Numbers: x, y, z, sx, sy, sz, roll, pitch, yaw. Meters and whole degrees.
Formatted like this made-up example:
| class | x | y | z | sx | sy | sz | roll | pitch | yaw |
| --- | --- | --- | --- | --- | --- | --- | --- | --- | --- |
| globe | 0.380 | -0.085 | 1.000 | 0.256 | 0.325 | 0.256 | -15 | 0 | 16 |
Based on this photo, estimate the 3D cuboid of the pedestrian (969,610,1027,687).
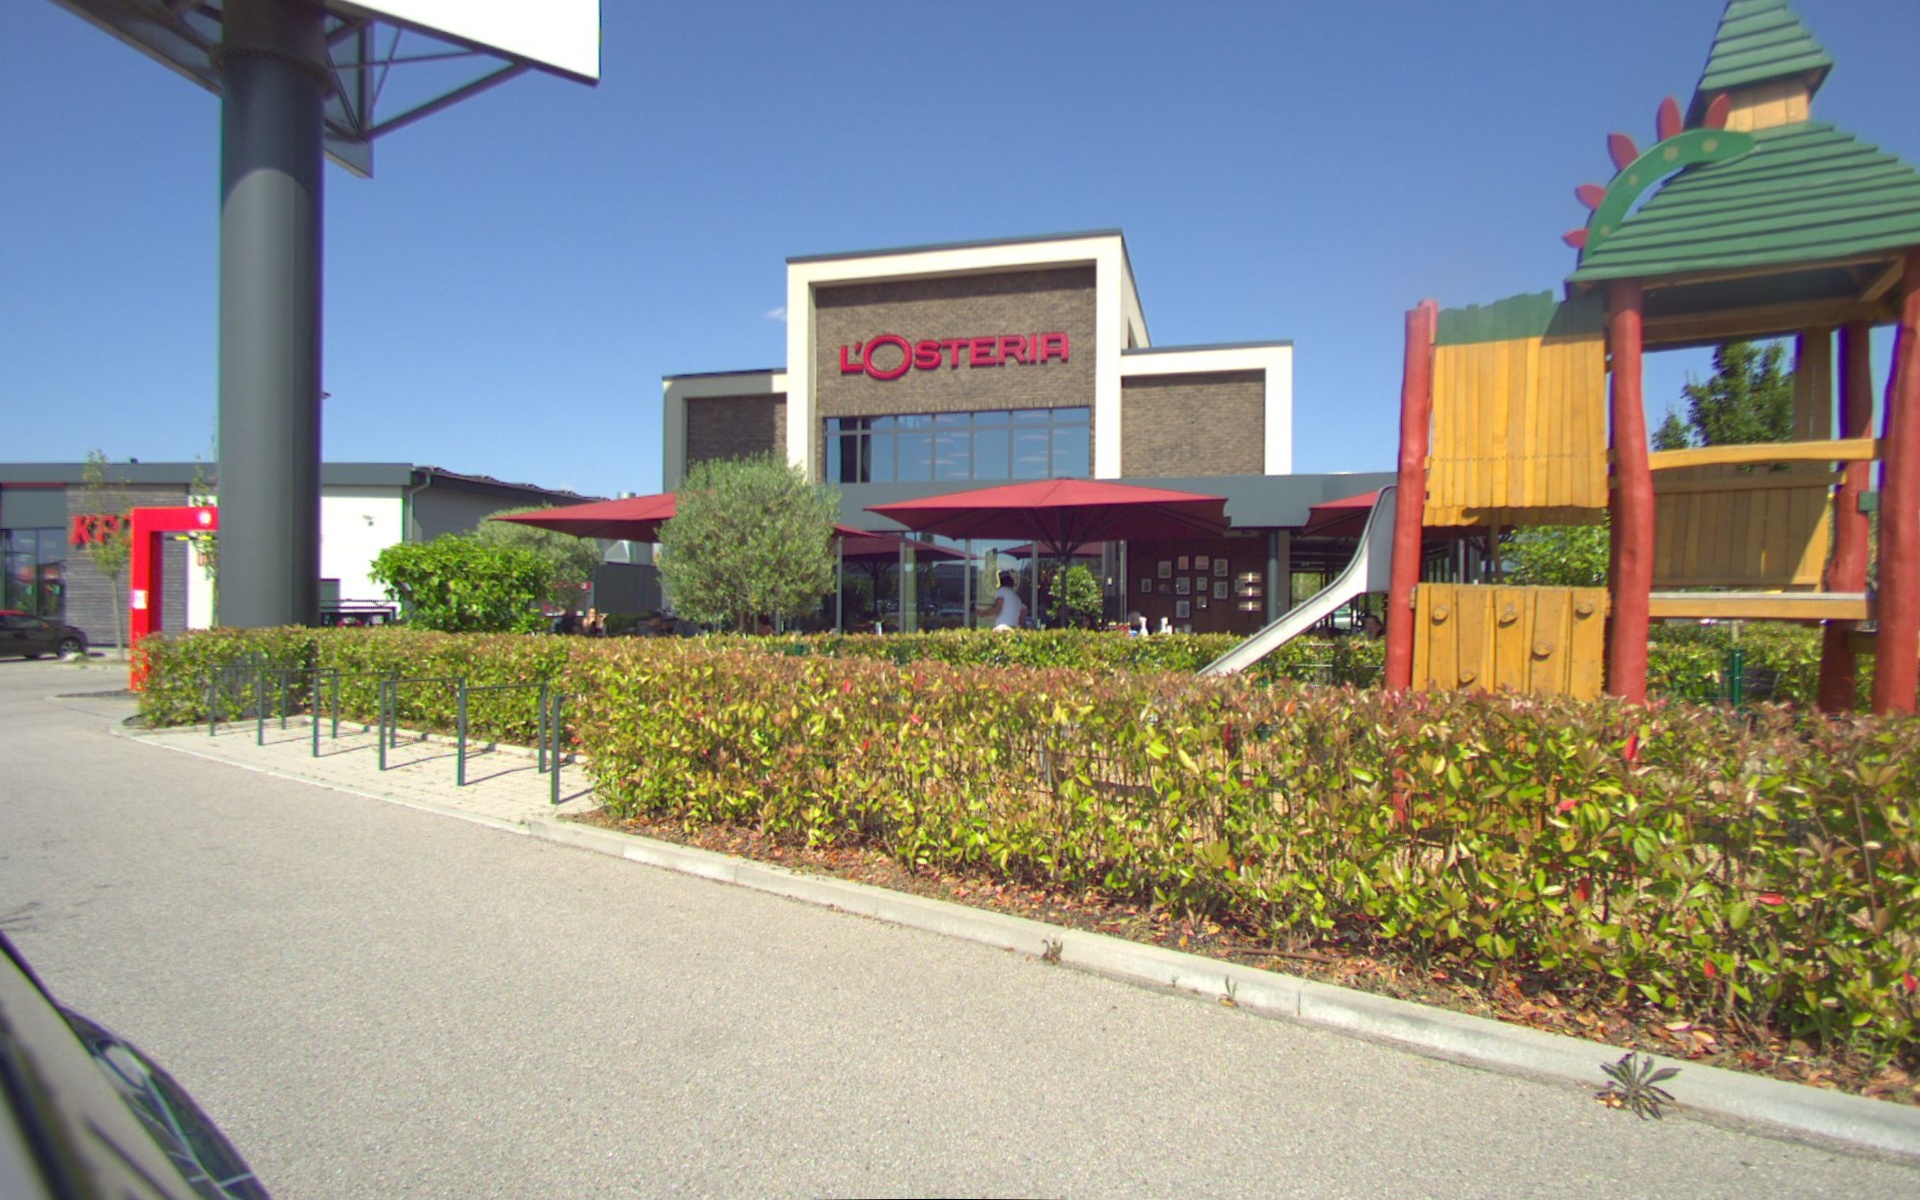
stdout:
| class | x | y | z | sx | sy | sz | roll | pitch | yaw |
| --- | --- | --- | --- | --- | --- | --- | --- | --- | --- |
| pedestrian | 0.611 | 0.766 | 16.347 | 0.699 | 1.207 | 0.618 | 0 | -1 | -39 |

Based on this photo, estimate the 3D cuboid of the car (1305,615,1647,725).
| class | x | y | z | sx | sy | sz | roll | pitch | yaw |
| --- | --- | --- | --- | --- | --- | --- | --- | --- | --- |
| car | 6.656 | 0.871 | 13.519 | 3.809 | 1.318 | 1.638 | 0 | -1 | 18 |

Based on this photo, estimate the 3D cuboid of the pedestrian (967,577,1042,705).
| class | x | y | z | sx | sy | sz | roll | pitch | yaw |
| --- | --- | --- | --- | --- | --- | --- | --- | --- | --- |
| pedestrian | 0.617 | 0.554 | 13.924 | 0.759 | 1.700 | 0.778 | -1 | -1 | 27 |

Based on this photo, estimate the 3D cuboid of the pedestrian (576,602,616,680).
| class | x | y | z | sx | sy | sz | roll | pitch | yaw |
| --- | --- | --- | --- | --- | --- | --- | --- | --- | --- |
| pedestrian | -7.215 | 0.807 | 20.057 | 0.563 | 1.516 | 0.524 | -1 | -1 | 12 |

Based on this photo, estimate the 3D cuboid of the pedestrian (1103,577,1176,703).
| class | x | y | z | sx | sy | sz | roll | pitch | yaw |
| --- | --- | --- | --- | --- | --- | --- | --- | --- | --- |
| pedestrian | 2.431 | 0.527 | 13.648 | 0.759 | 1.627 | 0.778 | -1 | -1 | 27 |

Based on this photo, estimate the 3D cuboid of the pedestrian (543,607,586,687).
| class | x | y | z | sx | sy | sz | roll | pitch | yaw |
| --- | --- | --- | --- | --- | --- | --- | --- | --- | --- |
| pedestrian | -7.545 | 0.892 | 19.325 | 0.563 | 1.516 | 0.524 | -1 | -1 | 12 |

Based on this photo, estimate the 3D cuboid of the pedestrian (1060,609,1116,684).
| class | x | y | z | sx | sy | sz | roll | pitch | yaw |
| --- | --- | --- | --- | --- | --- | --- | --- | --- | --- |
| pedestrian | 2.139 | 0.755 | 16.854 | 0.699 | 1.207 | 0.617 | 0 | -1 | -45 |

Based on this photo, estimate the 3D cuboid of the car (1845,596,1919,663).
| class | x | y | z | sx | sy | sz | roll | pitch | yaw |
| --- | --- | --- | --- | --- | --- | --- | --- | --- | --- |
| car | 24.249 | 0.697 | 24.667 | 3.641 | 1.579 | 1.641 | -1 | -1 | 9 |

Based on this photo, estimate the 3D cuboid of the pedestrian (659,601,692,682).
| class | x | y | z | sx | sy | sz | roll | pitch | yaw |
| --- | --- | --- | --- | --- | --- | --- | --- | --- | --- |
| pedestrian | -4.916 | 0.710 | 17.505 | 0.474 | 1.377 | 0.652 | 0 | -1 | -10 |

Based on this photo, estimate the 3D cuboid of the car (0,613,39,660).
| class | x | y | z | sx | sy | sz | roll | pitch | yaw |
| --- | --- | --- | --- | --- | --- | --- | --- | --- | --- |
| car | -30.614 | 1.132 | 30.281 | 1.722 | 1.423 | 4.385 | -1 | 0 | 12 |

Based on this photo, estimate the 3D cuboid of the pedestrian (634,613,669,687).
| class | x | y | z | sx | sy | sz | roll | pitch | yaw |
| --- | --- | --- | --- | --- | --- | --- | --- | --- | --- |
| pedestrian | -5.083 | 0.819 | 16.712 | 0.474 | 1.194 | 0.652 | -1 | -1 | -10 |

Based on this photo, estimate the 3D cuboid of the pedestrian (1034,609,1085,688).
| class | x | y | z | sx | sy | sz | roll | pitch | yaw |
| --- | --- | --- | --- | --- | --- | --- | --- | --- | --- |
| pedestrian | 1.576 | 0.758 | 16.027 | 0.612 | 1.207 | 0.705 | -1 | -1 | 23 |

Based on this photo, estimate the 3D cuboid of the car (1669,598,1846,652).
| class | x | y | z | sx | sy | sz | roll | pitch | yaw |
| --- | --- | --- | --- | --- | --- | --- | --- | --- | --- |
| car | 24.614 | 0.780 | 31.368 | 3.903 | 1.579 | 1.733 | -1 | -1 | 7 |

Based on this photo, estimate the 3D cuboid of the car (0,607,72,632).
| class | x | y | z | sx | sy | sz | roll | pitch | yaw |
| --- | --- | --- | --- | --- | --- | --- | --- | --- | --- |
| car | -60.238 | 1.251 | 65.455 | 3.932 | 1.564 | 1.759 | 0 | -1 | -33 |

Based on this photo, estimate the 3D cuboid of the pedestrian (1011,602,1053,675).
| class | x | y | z | sx | sy | sz | roll | pitch | yaw |
| --- | --- | --- | --- | --- | --- | --- | --- | --- | --- |
| pedestrian | 1.230 | 0.651 | 17.252 | 0.660 | 1.207 | 0.708 | -1 | -1 | 7 |

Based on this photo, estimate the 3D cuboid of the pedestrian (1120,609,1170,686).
| class | x | y | z | sx | sy | sz | roll | pitch | yaw |
| --- | --- | --- | --- | --- | --- | --- | --- | --- | --- |
| pedestrian | 2.686 | 0.680 | 14.710 | 0.543 | 1.098 | 0.572 | -1 | -1 | 31 |

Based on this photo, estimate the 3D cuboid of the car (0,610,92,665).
| class | x | y | z | sx | sy | sz | roll | pitch | yaw |
| --- | --- | --- | --- | --- | --- | --- | --- | --- | --- |
| car | -28.014 | 1.083 | 29.495 | 1.723 | 1.518 | 3.891 | -1 | 0 | 14 |

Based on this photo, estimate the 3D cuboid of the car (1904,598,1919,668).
| class | x | y | z | sx | sy | sz | roll | pitch | yaw |
| --- | --- | --- | --- | --- | --- | --- | --- | --- | --- |
| car | 23.625 | 0.718 | 22.214 | 3.903 | 1.579 | 1.733 | -1 | -1 | 7 |
